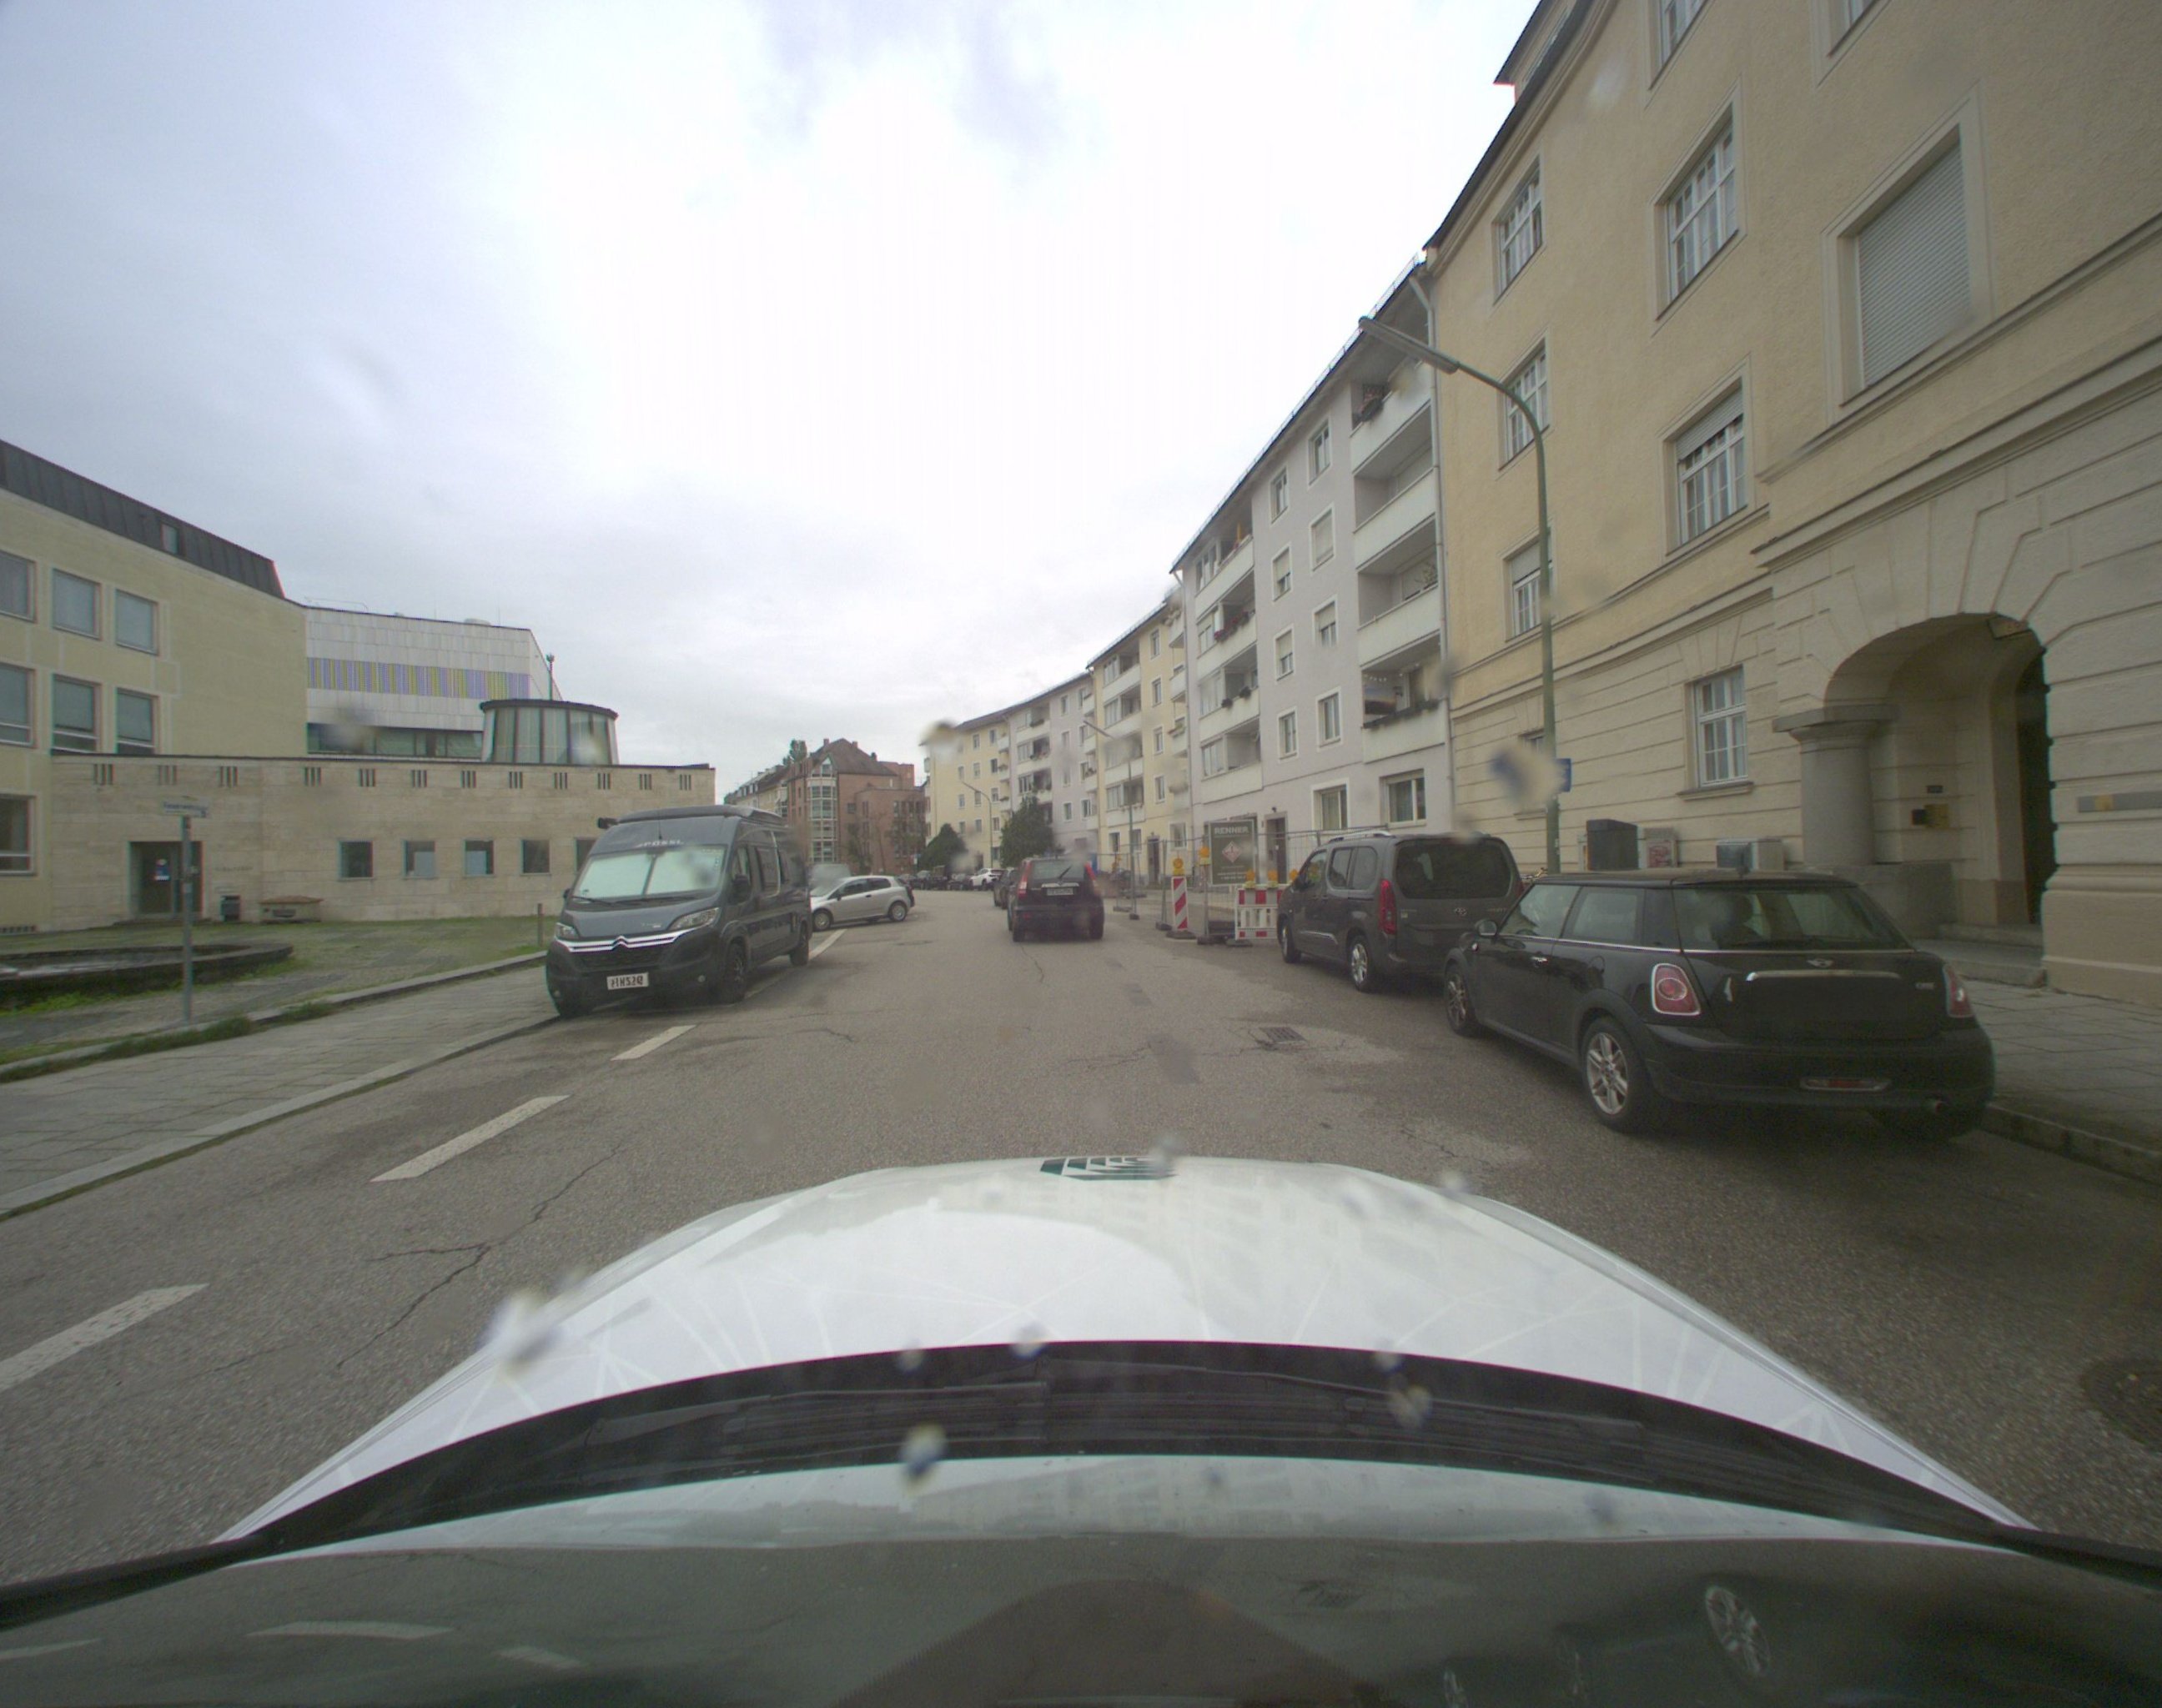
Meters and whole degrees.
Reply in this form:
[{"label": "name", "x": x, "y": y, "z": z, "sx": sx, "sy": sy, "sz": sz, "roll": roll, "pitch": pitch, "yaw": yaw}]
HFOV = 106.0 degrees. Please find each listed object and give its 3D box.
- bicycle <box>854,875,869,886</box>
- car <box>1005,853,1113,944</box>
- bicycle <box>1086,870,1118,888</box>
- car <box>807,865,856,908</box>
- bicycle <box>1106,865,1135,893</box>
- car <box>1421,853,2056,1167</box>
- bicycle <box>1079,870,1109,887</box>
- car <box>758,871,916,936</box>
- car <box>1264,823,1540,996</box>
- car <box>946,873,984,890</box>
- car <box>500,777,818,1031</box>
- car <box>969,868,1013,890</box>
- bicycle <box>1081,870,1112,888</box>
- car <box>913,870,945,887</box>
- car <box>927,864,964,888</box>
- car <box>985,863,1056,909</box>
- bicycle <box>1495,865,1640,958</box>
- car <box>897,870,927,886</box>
[{"label": "bicycle", "x": -27.921, "y": 3.347, "z": 103.545, "sx": 1.763, "sy": 1.288, "sz": 0.548, "roll": -1, "pitch": -1, "yaw": -26}, {"label": "car", "x": -0.591, "y": 0.869, "z": 17.301, "sx": 1.889, "sy": 1.647, "sz": 3.981, "roll": -1, "pitch": -1, "yaw": -7}, {"label": "bicycle", "x": 1.291, "y": 1.550, "z": 50.585, "sx": 1.870, "sy": 1.091, "sz": 0.562, "roll": -1, "pitch": -1, "yaw": -17}, {"label": "car", "x": -11.025, "y": 1.383, "z": 35.825, "sx": 1.685, "sy": 1.707, "sz": 4.480, "roll": -1, "pitch": -1, "yaw": -21}, {"label": "bicycle", "x": 2.059, "y": 1.279, "z": 42.785, "sx": 0.969, "sy": 1.388, "sz": 2.554, "roll": -1, "pitch": -1, "yaw": -10}, {"label": "car", "x": 3.864, "y": 0.745, "z": 5.751, "sx": 1.699, "sy": 1.447, "sz": 3.836, "roll": 0, "pitch": -1, "yaw": 7}, {"label": "bicycle", "x": 0.850, "y": 1.644, "z": 54.203, "sx": 1.870, "sy": 1.091, "sz": 0.642, "roll": -1, "pitch": -1, "yaw": -17}, {"label": "car", "x": -7.176, "y": 1.435, "z": 24.229, "sx": 1.663, "sy": 1.481, "sz": 4.111, "roll": -7, "pitch": -2, "yaw": 45}, {"label": "car", "x": 3.872, "y": 0.599, "z": 10.722, "sx": 1.773, "sy": 1.807, "sz": 4.271, "roll": 0, "pitch": -1, "yaw": -3}, {"label": "car", "x": -8.801, "y": 2.042, "z": 61.532, "sx": 1.707, "sy": 1.236, "sz": 3.568, "roll": -1, "pitch": -1, "yaw": -28}, {"label": "car", "x": -5.531, "y": 0.555, "z": 11.863, "sx": 2.163, "sy": 2.642, "sz": 5.999, "roll": -3, "pitch": 0, "yaw": -8}, {"label": "car", "x": -6.368, "y": 1.715, "z": 57.247, "sx": 1.734, "sy": 1.483, "sz": 3.963, "roll": -1, "pitch": -1, "yaw": -28}, {"label": "bicycle", "x": 0.964, "y": 1.614, "z": 52.220, "sx": 1.870, "sy": 1.091, "sz": 0.642, "roll": -1, "pitch": -1, "yaw": -17}, {"label": "car", "x": -12.988, "y": 2.095, "z": 69.480, "sx": 1.707, "sy": 1.389, "sz": 3.568, "roll": -1, "pitch": -1, "yaw": -28}, {"label": "car", "x": -10.929, "y": 1.766, "z": 65.541, "sx": 1.734, "sy": 1.878, "sz": 3.963, "roll": -1, "pitch": -1, "yaw": -28}, {"label": "car", "x": -2.266, "y": 1.113, "z": 29.436, "sx": 1.683, "sy": 1.481, "sz": 4.063, "roll": -1, "pitch": -1, "yaw": -17}, {"label": "bicycle", "x": 5.924, "y": 0.656, "z": 10.062, "sx": 0.577, "sy": 1.014, "sz": 1.952, "roll": -1, "pitch": -1, "yaw": -1}, {"label": "car", "x": -15.198, "y": 2.163, "z": 73.281, "sx": 1.707, "sy": 1.389, "sz": 3.568, "roll": -1, "pitch": -1, "yaw": -28}]
